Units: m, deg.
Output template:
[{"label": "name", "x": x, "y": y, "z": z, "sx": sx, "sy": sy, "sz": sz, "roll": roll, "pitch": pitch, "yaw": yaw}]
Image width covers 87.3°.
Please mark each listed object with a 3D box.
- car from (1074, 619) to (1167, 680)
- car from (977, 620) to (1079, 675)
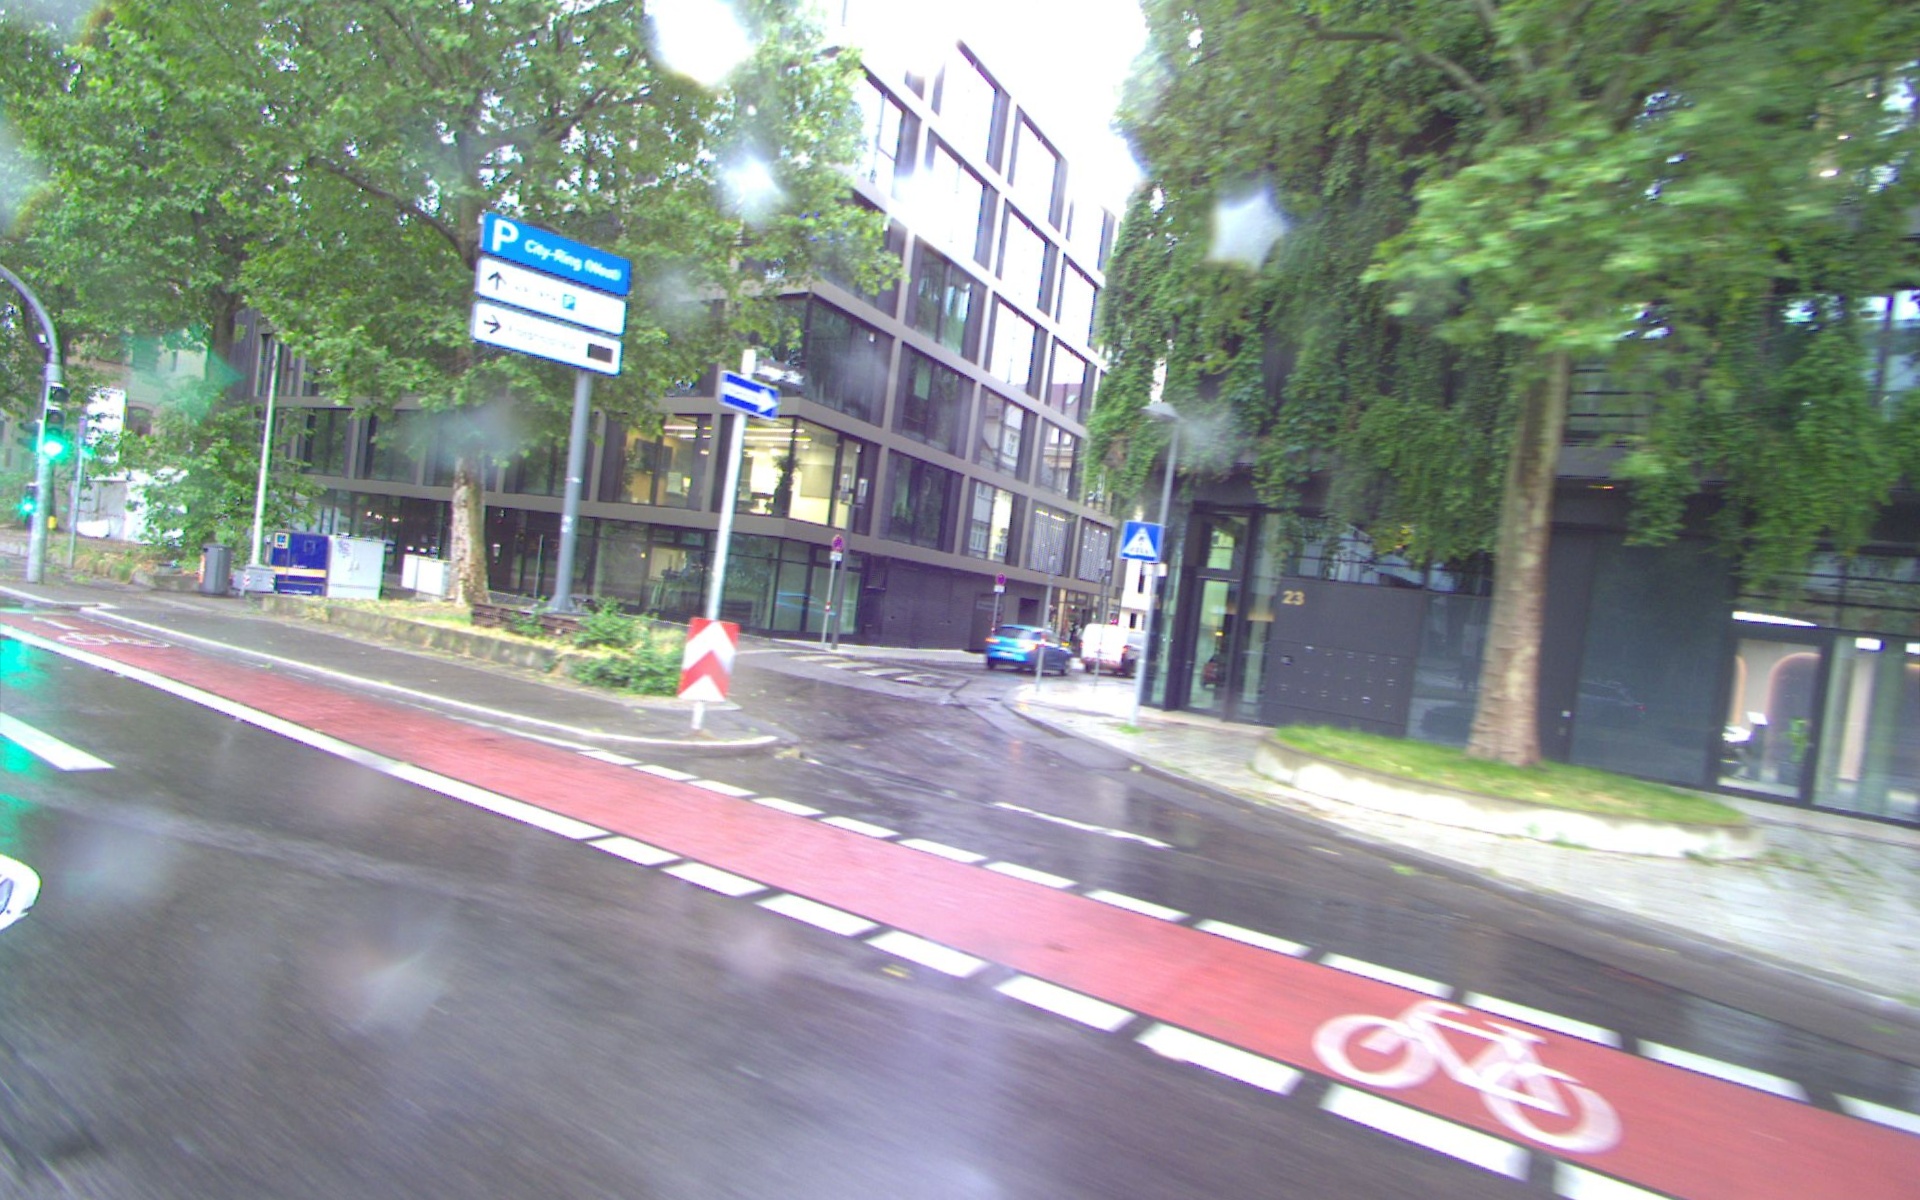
[{"label": "car", "x": 6.383, "y": 1.992, "z": 39.498, "sx": 1.893, "sy": 1.968, "sz": 4.960, "roll": 6, "pitch": -2, "yaw": 29}, {"label": "car", "x": 2.210, "y": 1.524, "z": 31.492, "sx": 1.769, "sy": 1.453, "sz": 4.061, "roll": 6, "pitch": -1, "yaw": 24}]
